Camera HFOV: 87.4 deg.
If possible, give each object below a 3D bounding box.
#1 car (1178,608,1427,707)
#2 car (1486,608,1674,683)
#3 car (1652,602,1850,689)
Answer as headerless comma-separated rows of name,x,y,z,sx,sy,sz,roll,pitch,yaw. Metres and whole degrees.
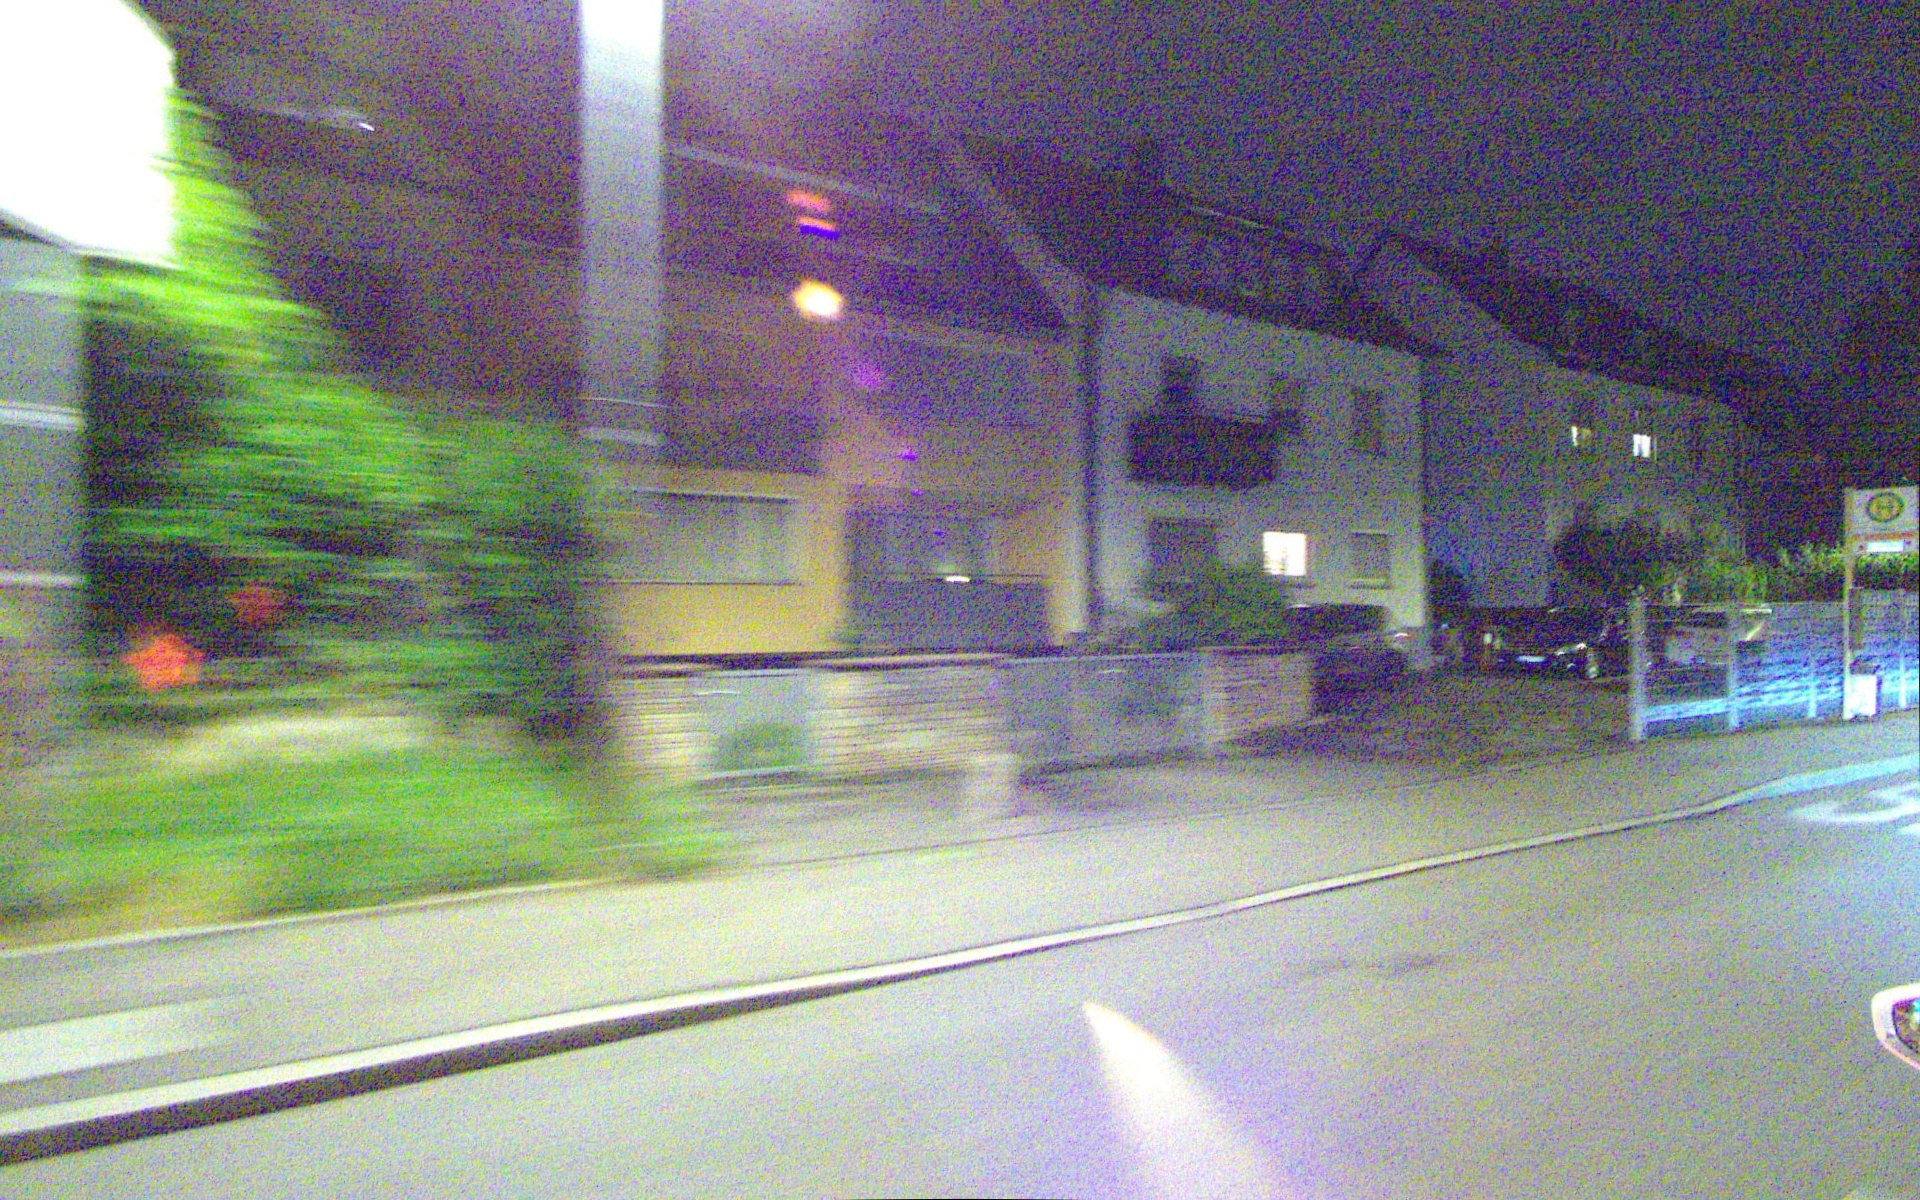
car,5.846,0.904,17.055,4.070,1.478,1.719,0,-1,-29
car,13.200,0.898,21.354,3.954,1.446,1.839,0,0,-31
car,14.932,0.773,18.909,3.962,1.458,1.961,0,0,-36
